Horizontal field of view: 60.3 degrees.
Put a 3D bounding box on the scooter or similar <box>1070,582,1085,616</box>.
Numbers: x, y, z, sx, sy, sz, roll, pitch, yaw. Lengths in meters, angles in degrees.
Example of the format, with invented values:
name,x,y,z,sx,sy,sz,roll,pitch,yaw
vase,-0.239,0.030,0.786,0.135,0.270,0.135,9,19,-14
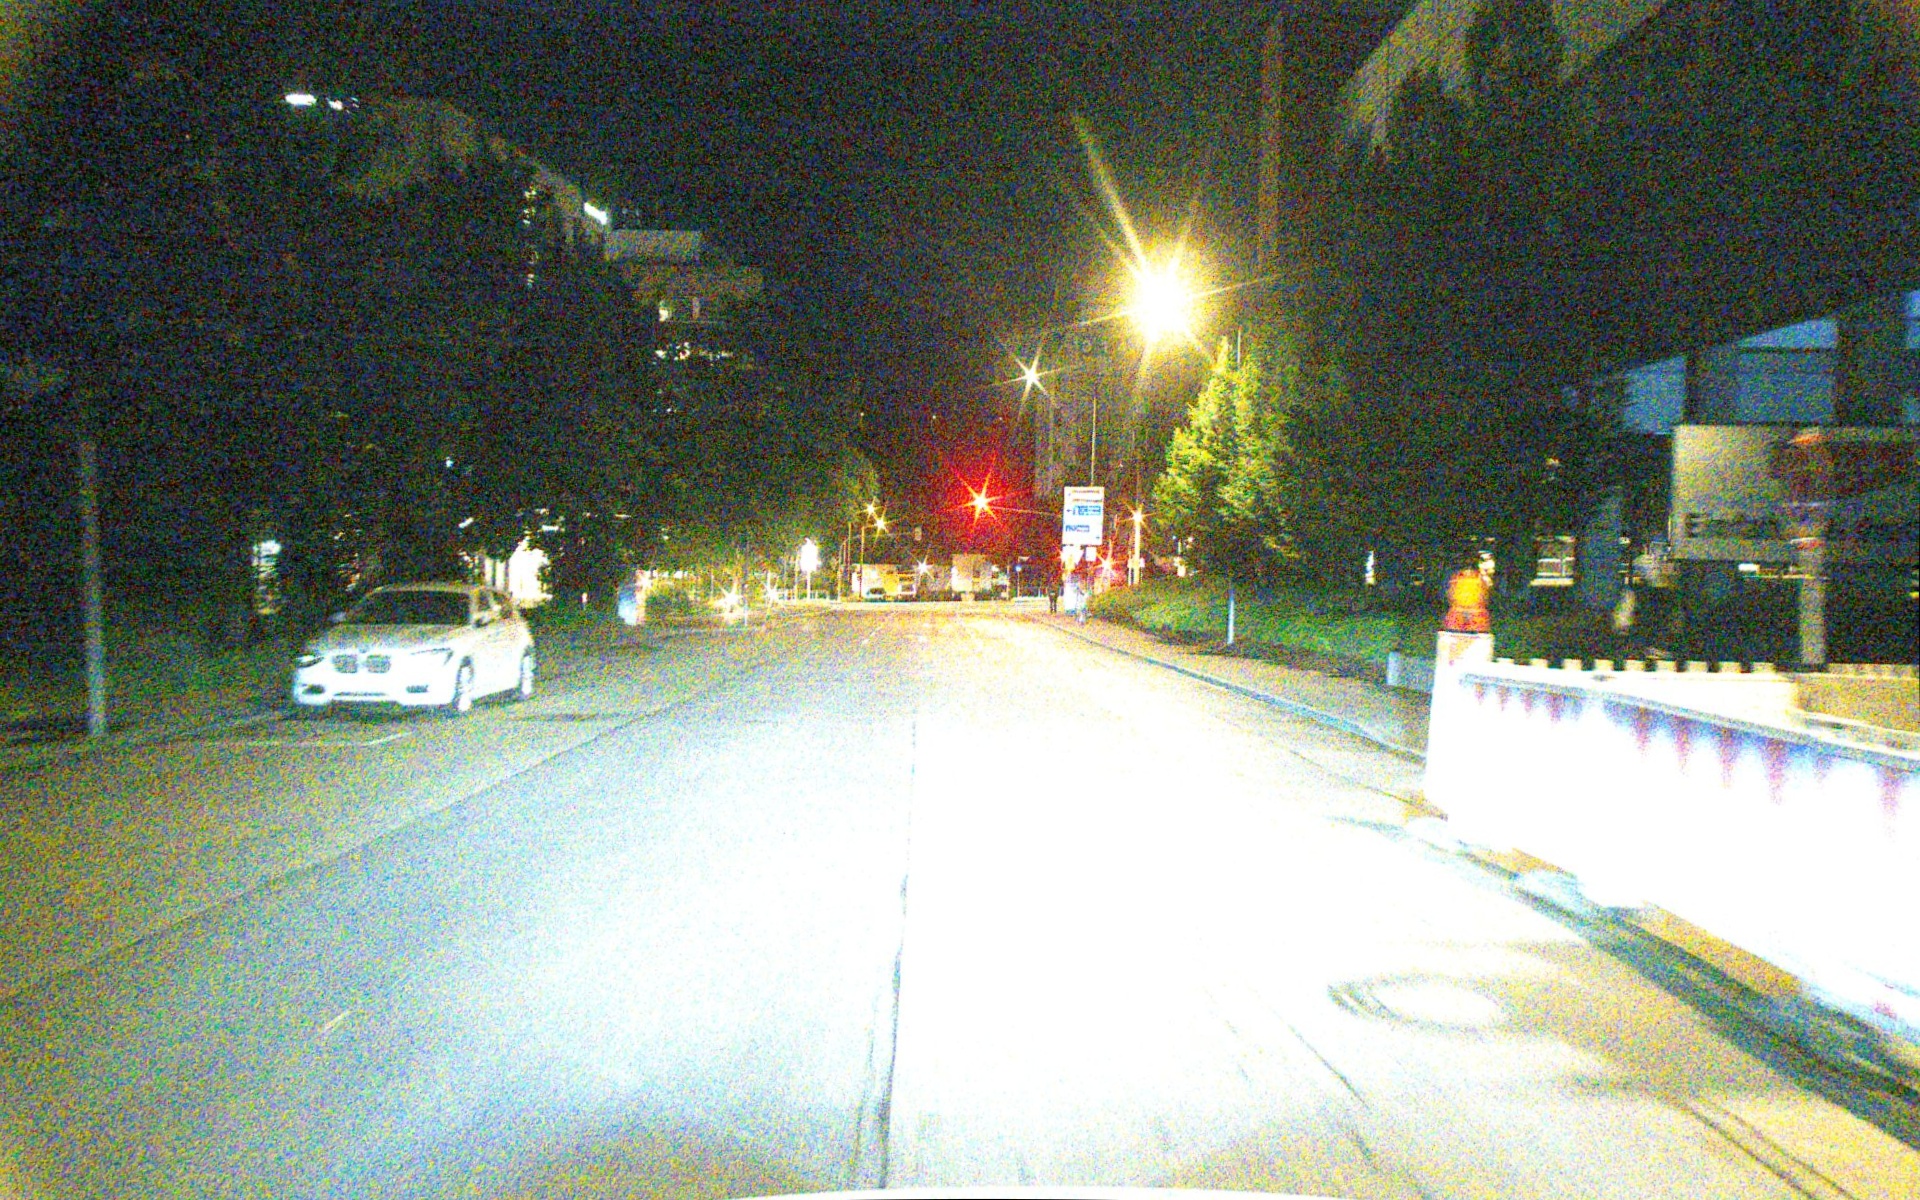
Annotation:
name,x,y,z,sx,sy,sz,roll,pitch,yaw
scooter or similar,4.526,-0.035,63.909,0.484,1.284,1.320,-1,1,1

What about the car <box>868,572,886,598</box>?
name,x,y,z,sx,sy,sz,roll,pitch,yaw
car,-10.074,-1.812,201.091,1.955,3.026,3.995,1,0,-6

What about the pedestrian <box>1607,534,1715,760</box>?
name,x,y,z,sx,sy,sz,roll,pitch,yaw
pedestrian,6.034,0.393,14.265,0.558,1.885,0.820,1,0,0

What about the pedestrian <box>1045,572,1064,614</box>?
name,x,y,z,sx,sy,sz,roll,pitch,yaw
pedestrian,4.545,-0.335,79.874,0.725,2.016,0.623,1,0,-17

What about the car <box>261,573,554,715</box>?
name,x,y,z,sx,sy,sz,roll,pitch,yaw
car,-6.096,0.414,18.825,1.872,1.428,4.338,0,1,0

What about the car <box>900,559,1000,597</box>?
name,x,y,z,sx,sy,sz,roll,pitch,yaw
car,-1.330,-2.831,213.783,12.177,4.792,4.791,1,0,-15
